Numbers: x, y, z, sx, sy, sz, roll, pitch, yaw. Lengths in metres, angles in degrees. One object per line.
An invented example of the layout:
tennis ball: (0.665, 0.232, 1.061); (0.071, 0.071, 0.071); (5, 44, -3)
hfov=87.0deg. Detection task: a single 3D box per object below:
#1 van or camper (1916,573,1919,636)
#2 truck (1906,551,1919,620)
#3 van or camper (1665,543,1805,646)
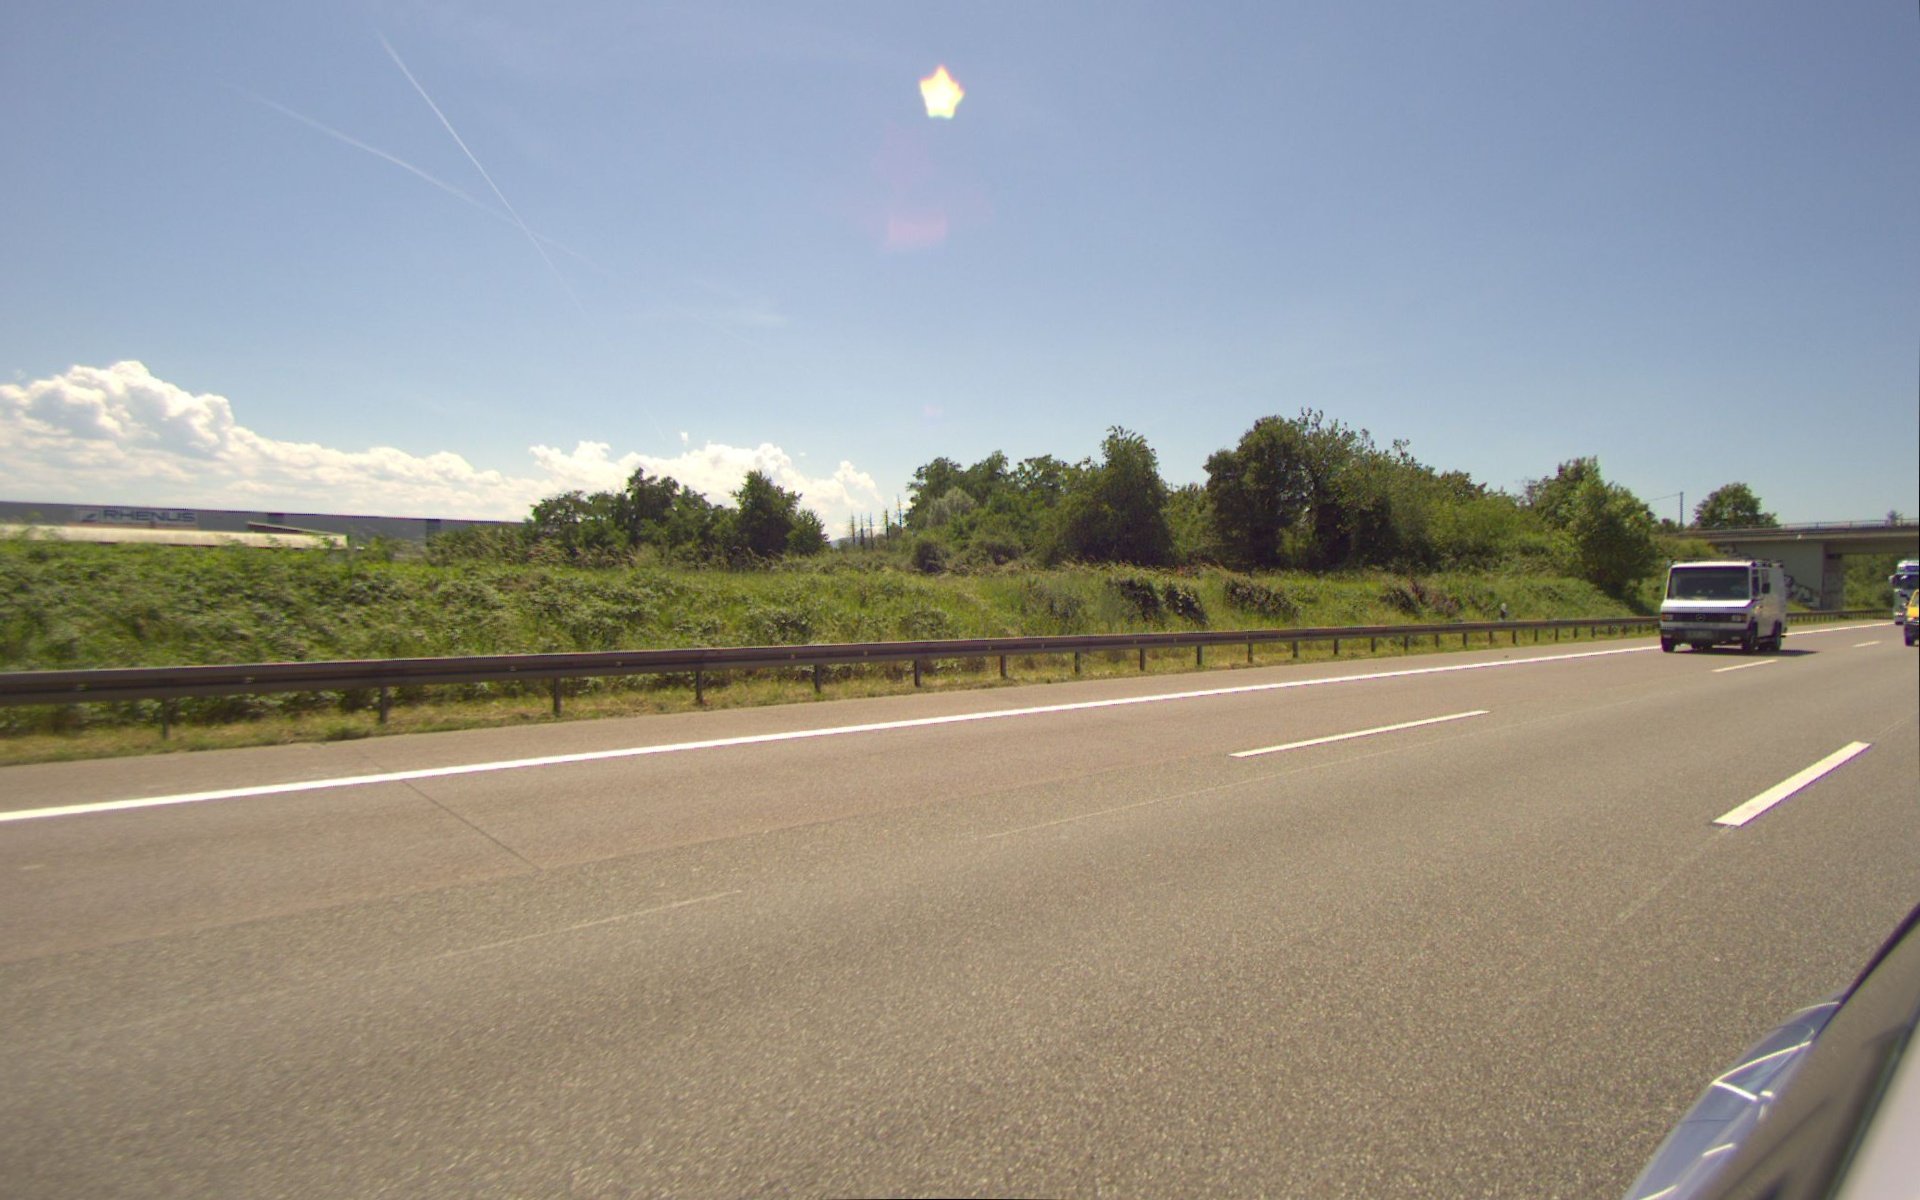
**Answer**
van or camper: (33.628, 0.129, 33.660); (5.780, 2.029, 2.062); (0, 1, -41)
truck: (63.142, -0.935, 64.593); (13.124, 4.097, 2.802); (-1, -1, -42)
van or camper: (22.815, -0.176, 29.678); (6.258, 2.737, 2.117); (-1, 0, -42)
